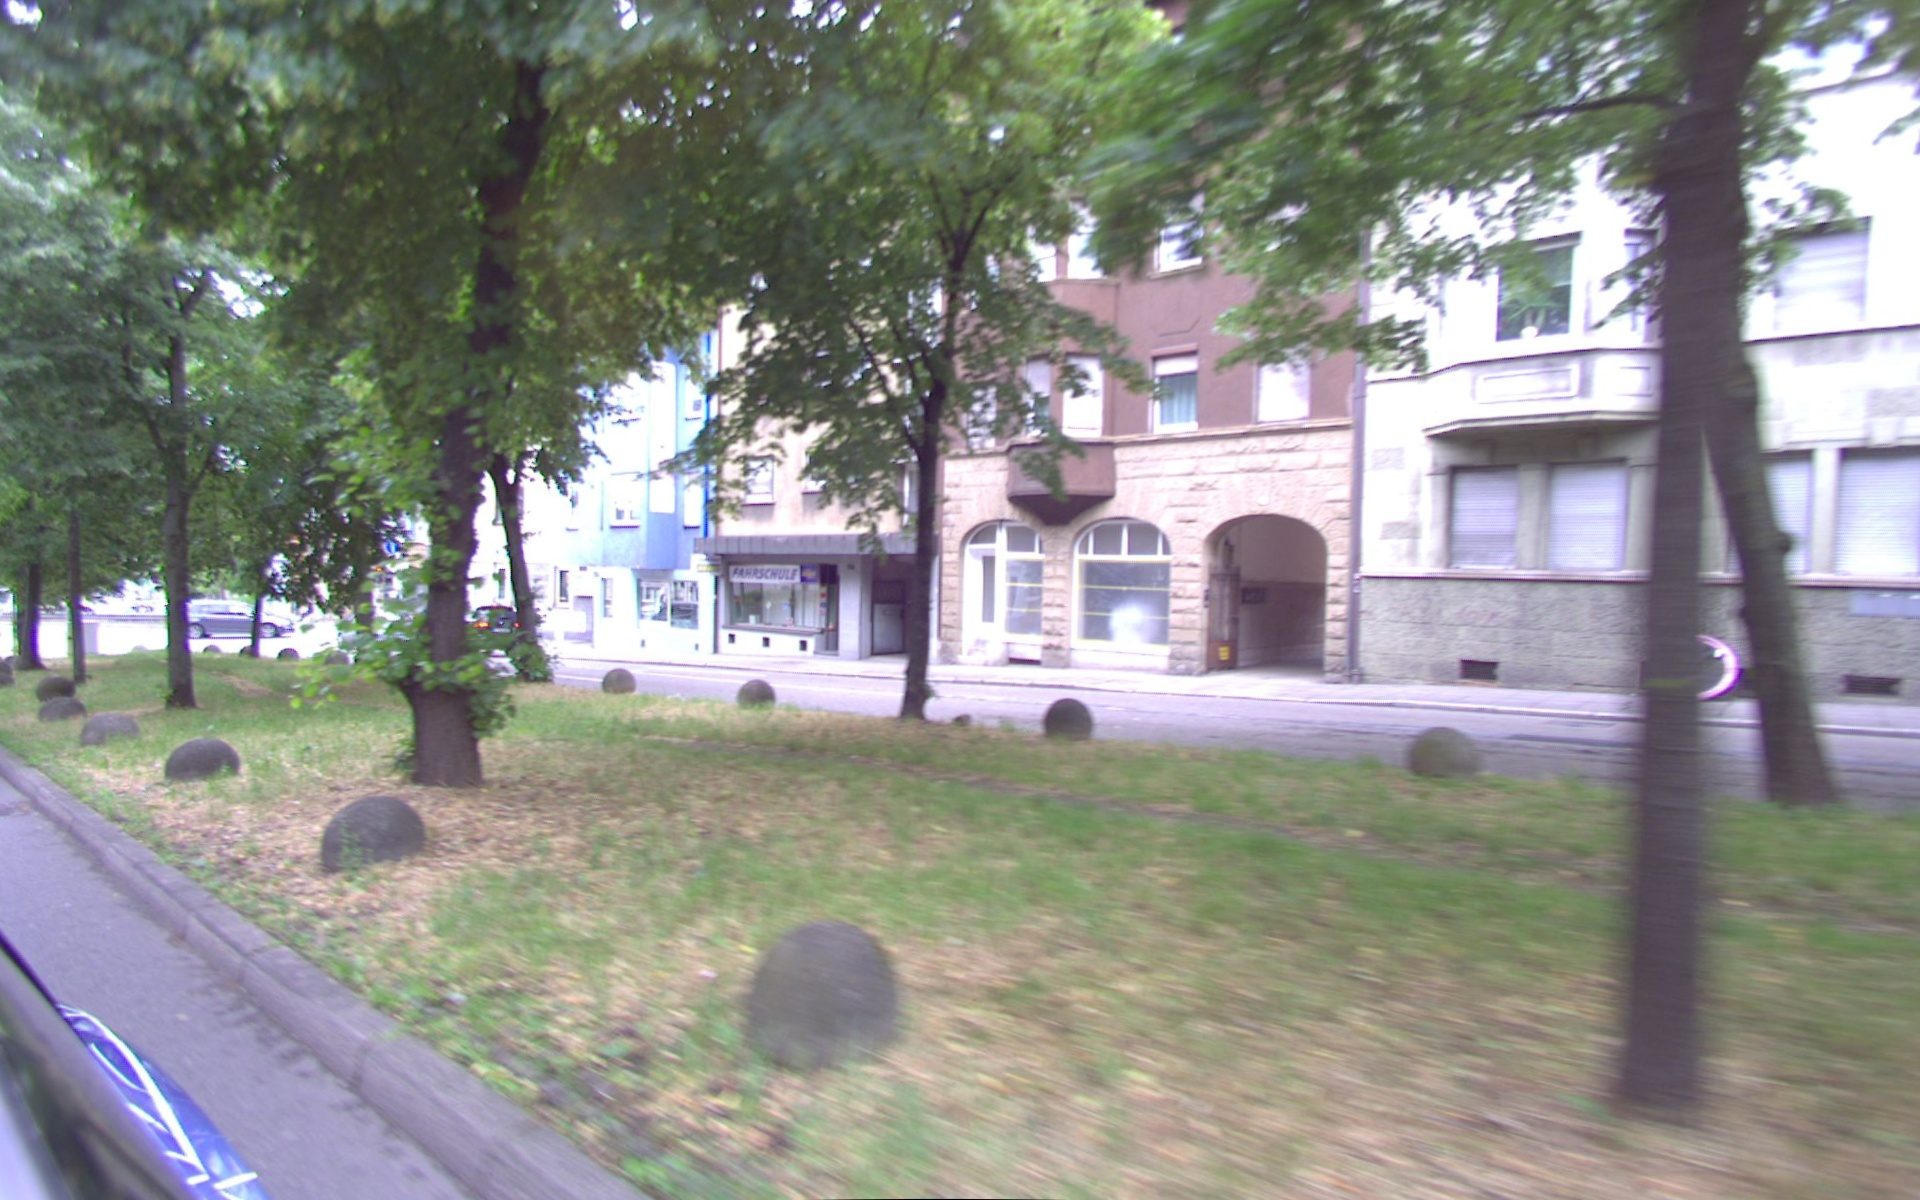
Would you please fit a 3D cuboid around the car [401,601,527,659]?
[{"bbox_3d":[-15.721,0.912,31.986,4.675,1.649,1.797,1,-1,40],"label":"car"}]

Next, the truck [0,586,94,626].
[{"bbox_3d":[-67.262,0.460,73.555,2.739,2.744,6.442,0,-1,7],"label":"truck"}]

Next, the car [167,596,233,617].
[{"bbox_3d":[-61.390,0.480,81.831,3.874,1.610,1.895,0,2,-4],"label":"car"}]

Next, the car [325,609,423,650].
[{"bbox_3d":[-21.468,1.043,37.030,4.289,1.417,1.653,-1,-1,39],"label":"car"}]

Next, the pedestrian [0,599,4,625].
[{"bbox_3d":[-54.659,0.681,57.224,0.594,1.443,0.603,1,2,8],"label":"pedestrian"}]

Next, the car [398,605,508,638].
[{"bbox_3d":[-25.694,1.048,51.394,4.665,1.430,1.845,-1,2,-41],"label":"car"}]

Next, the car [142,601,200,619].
[{"bbox_3d":[-74.268,0.935,95.310,3.868,1.610,1.898,0,2,-12],"label":"car"}]

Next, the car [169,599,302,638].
[{"bbox_3d":[-33.113,0.833,46.413,4.647,1.626,1.865,-1,1,-22],"label":"car"}]
